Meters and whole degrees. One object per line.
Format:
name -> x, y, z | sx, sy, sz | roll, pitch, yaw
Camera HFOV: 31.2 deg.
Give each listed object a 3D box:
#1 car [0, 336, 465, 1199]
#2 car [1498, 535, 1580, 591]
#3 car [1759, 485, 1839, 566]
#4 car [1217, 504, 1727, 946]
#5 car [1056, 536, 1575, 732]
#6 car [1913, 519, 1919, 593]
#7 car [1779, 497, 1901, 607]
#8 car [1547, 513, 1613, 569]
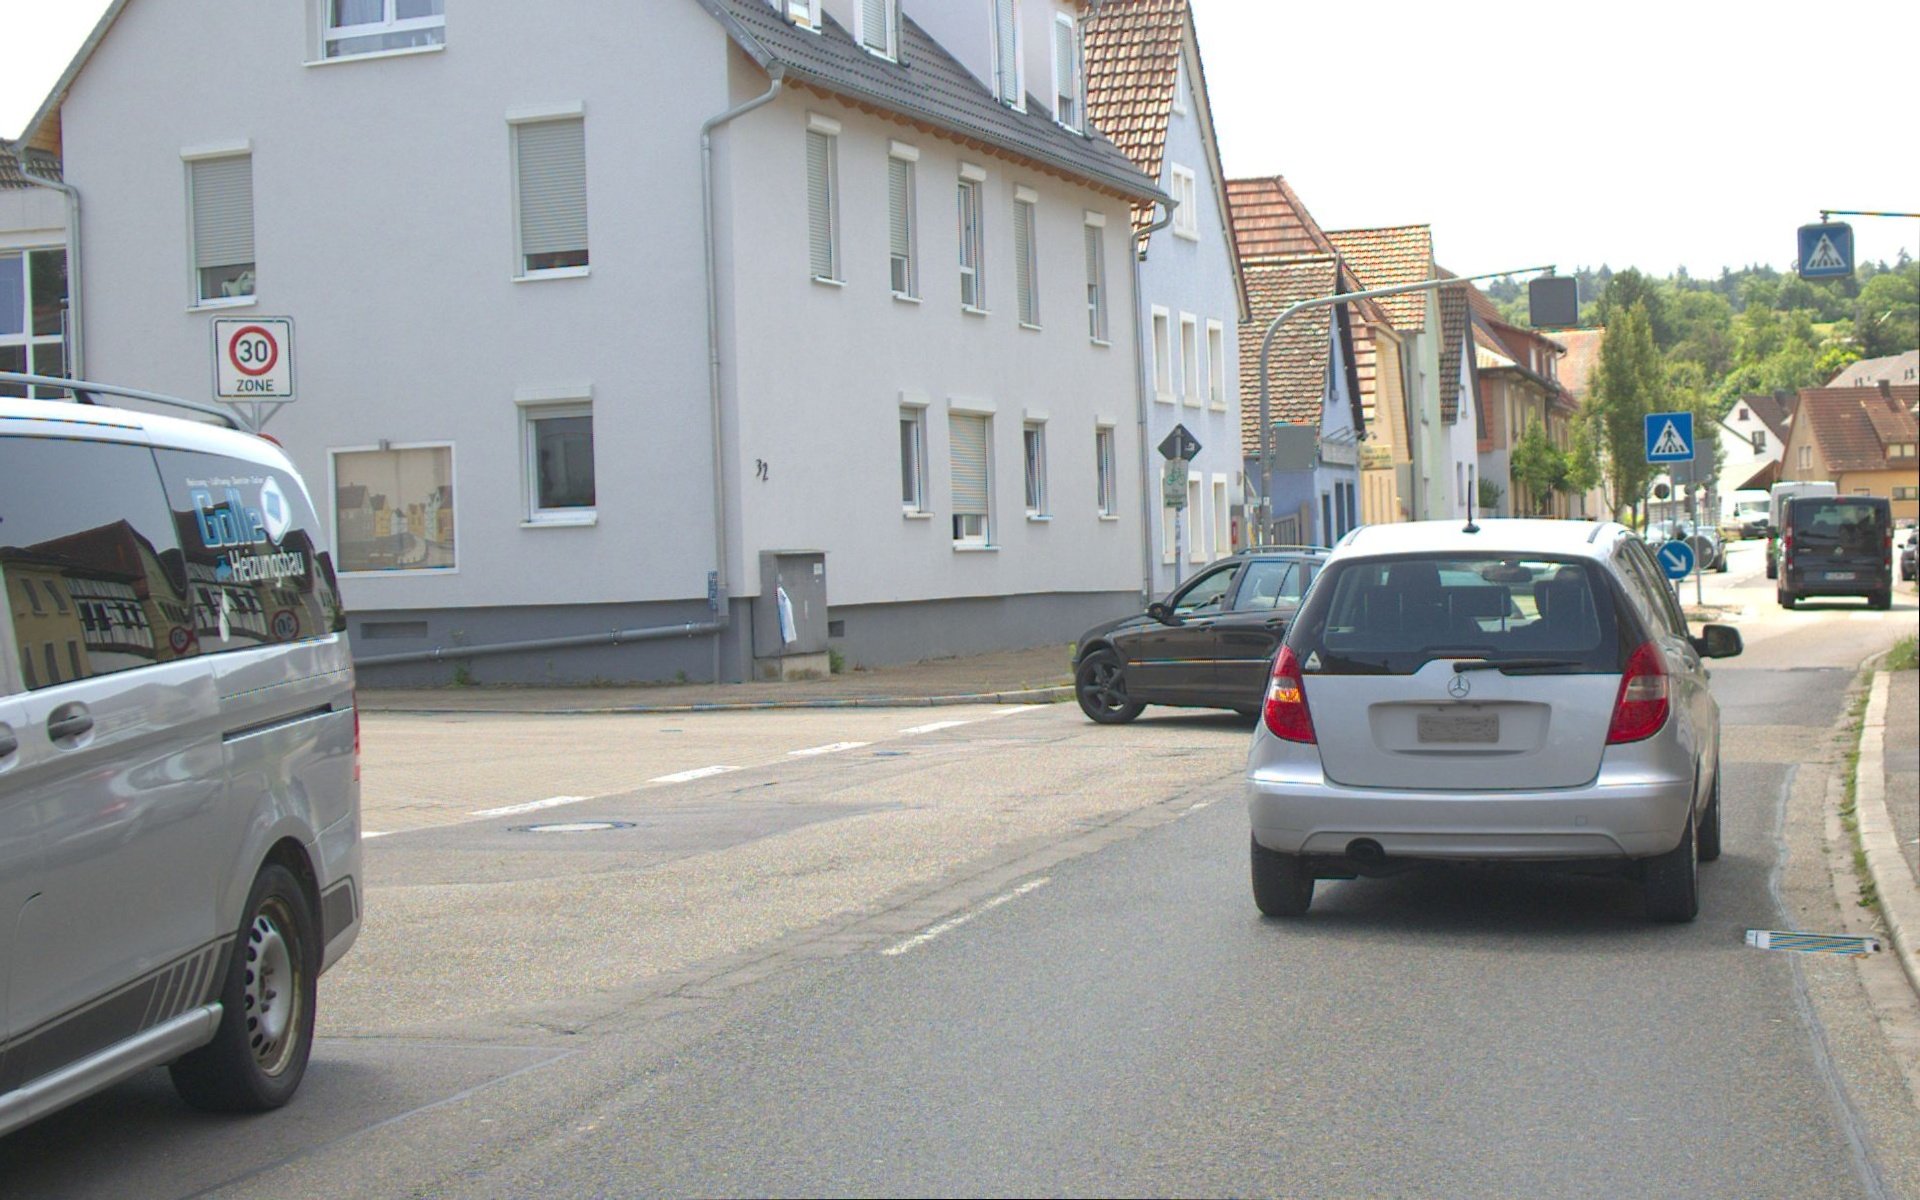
car -> -2.860, 0.371, 7.590 | 1.994, 1.794, 4.933 | -1, -1, 11
car -> 14.637, -0.922, 86.943 | 1.994, 1.317, 3.707 | -1, -1, 9
car -> 22.331, -1.958, 91.408 | 1.995, 2.007, 3.997 | -1, -1, 14
car -> 2.323, 0.437, 14.808 | 1.812, 1.638, 3.727 | 1, 1, 14
car -> 2.684, 0.276, 27.142 | 1.808, 1.407, 4.637 | 0, -1, -28
car -> 21.524, -0.927, 73.764 | 1.995, 1.503, 3.997 | -1, -1, 15
car -> 15.464, -0.812, 60.547 | 1.995, 1.810, 3.997 | -1, -1, 14
car -> 18.913, -1.779, 104.721 | 1.668, 1.590, 3.997 | -1, -1, 15
